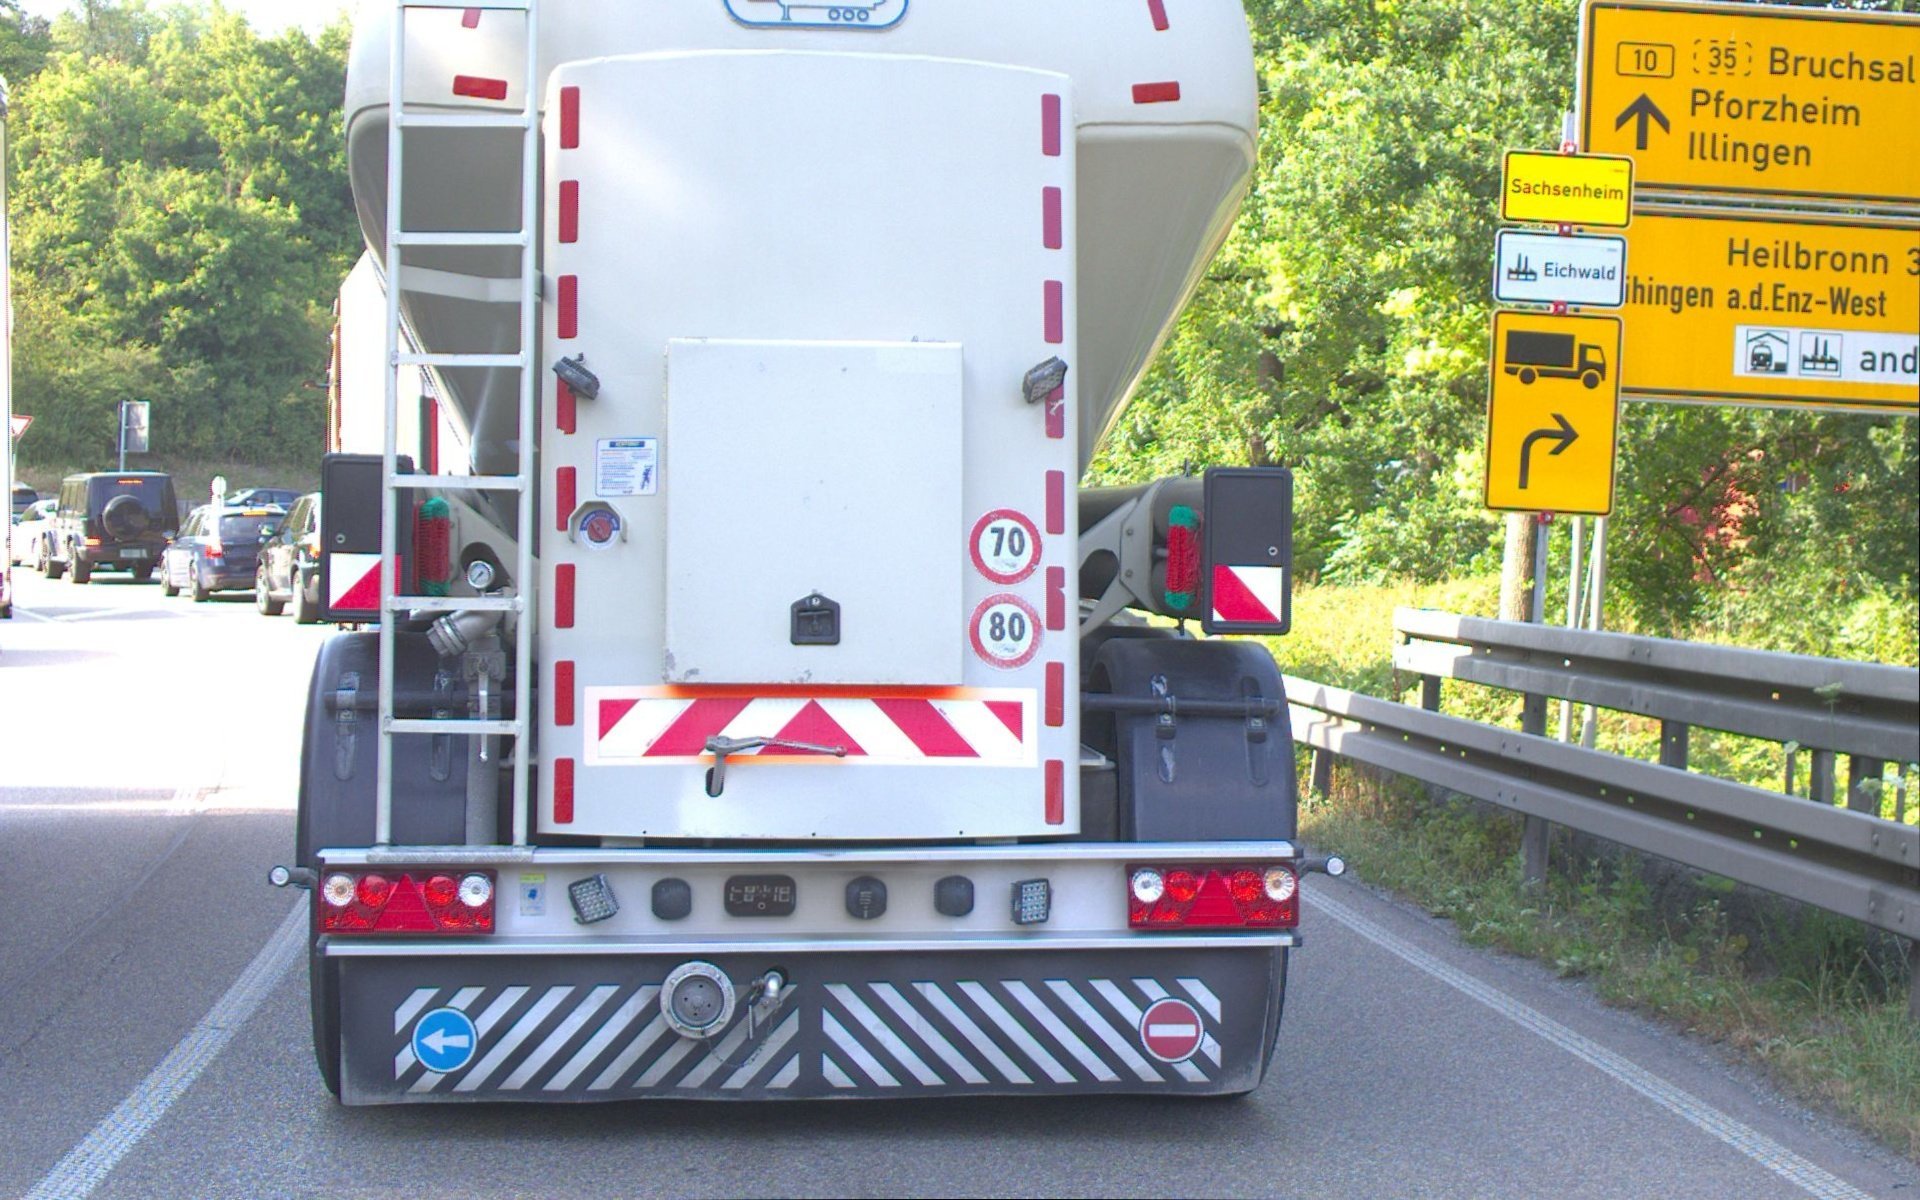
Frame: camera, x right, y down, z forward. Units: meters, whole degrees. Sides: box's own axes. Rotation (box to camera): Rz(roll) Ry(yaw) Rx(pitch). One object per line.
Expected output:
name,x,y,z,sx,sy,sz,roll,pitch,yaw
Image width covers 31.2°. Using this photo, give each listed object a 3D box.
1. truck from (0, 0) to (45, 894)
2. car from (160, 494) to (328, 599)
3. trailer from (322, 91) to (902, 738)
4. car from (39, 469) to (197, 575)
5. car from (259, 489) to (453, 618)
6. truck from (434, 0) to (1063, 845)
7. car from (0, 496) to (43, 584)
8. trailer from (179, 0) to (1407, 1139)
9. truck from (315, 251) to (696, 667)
truck,-5.501,-0.820,12.559,3.011,4.569,10.244,1,1,-9
car,-11.214,-0.868,53.675,1.867,1.559,4.001,-1,2,-22
trailer,-3.632,-1.414,30.917,3.544,4.497,12.988,2,1,-13
car,-15.325,-1.448,62.432,1.956,1.845,4.001,-1,2,-26
car,-8.104,-0.663,45.887,1.867,1.622,4.001,-1,2,-20
truck,-1.318,-0.949,18.633,2.823,4.021,5.896,1,1,-7
car,-21.569,-1.356,75.305,1.867,1.845,4.001,2,1,-29
trailer,-0.756,-1.020,12.969,2.886,4.439,9.607,1,1,-5
truck,-5.139,-1.510,37.698,3.449,4.072,6.493,1,2,-13
